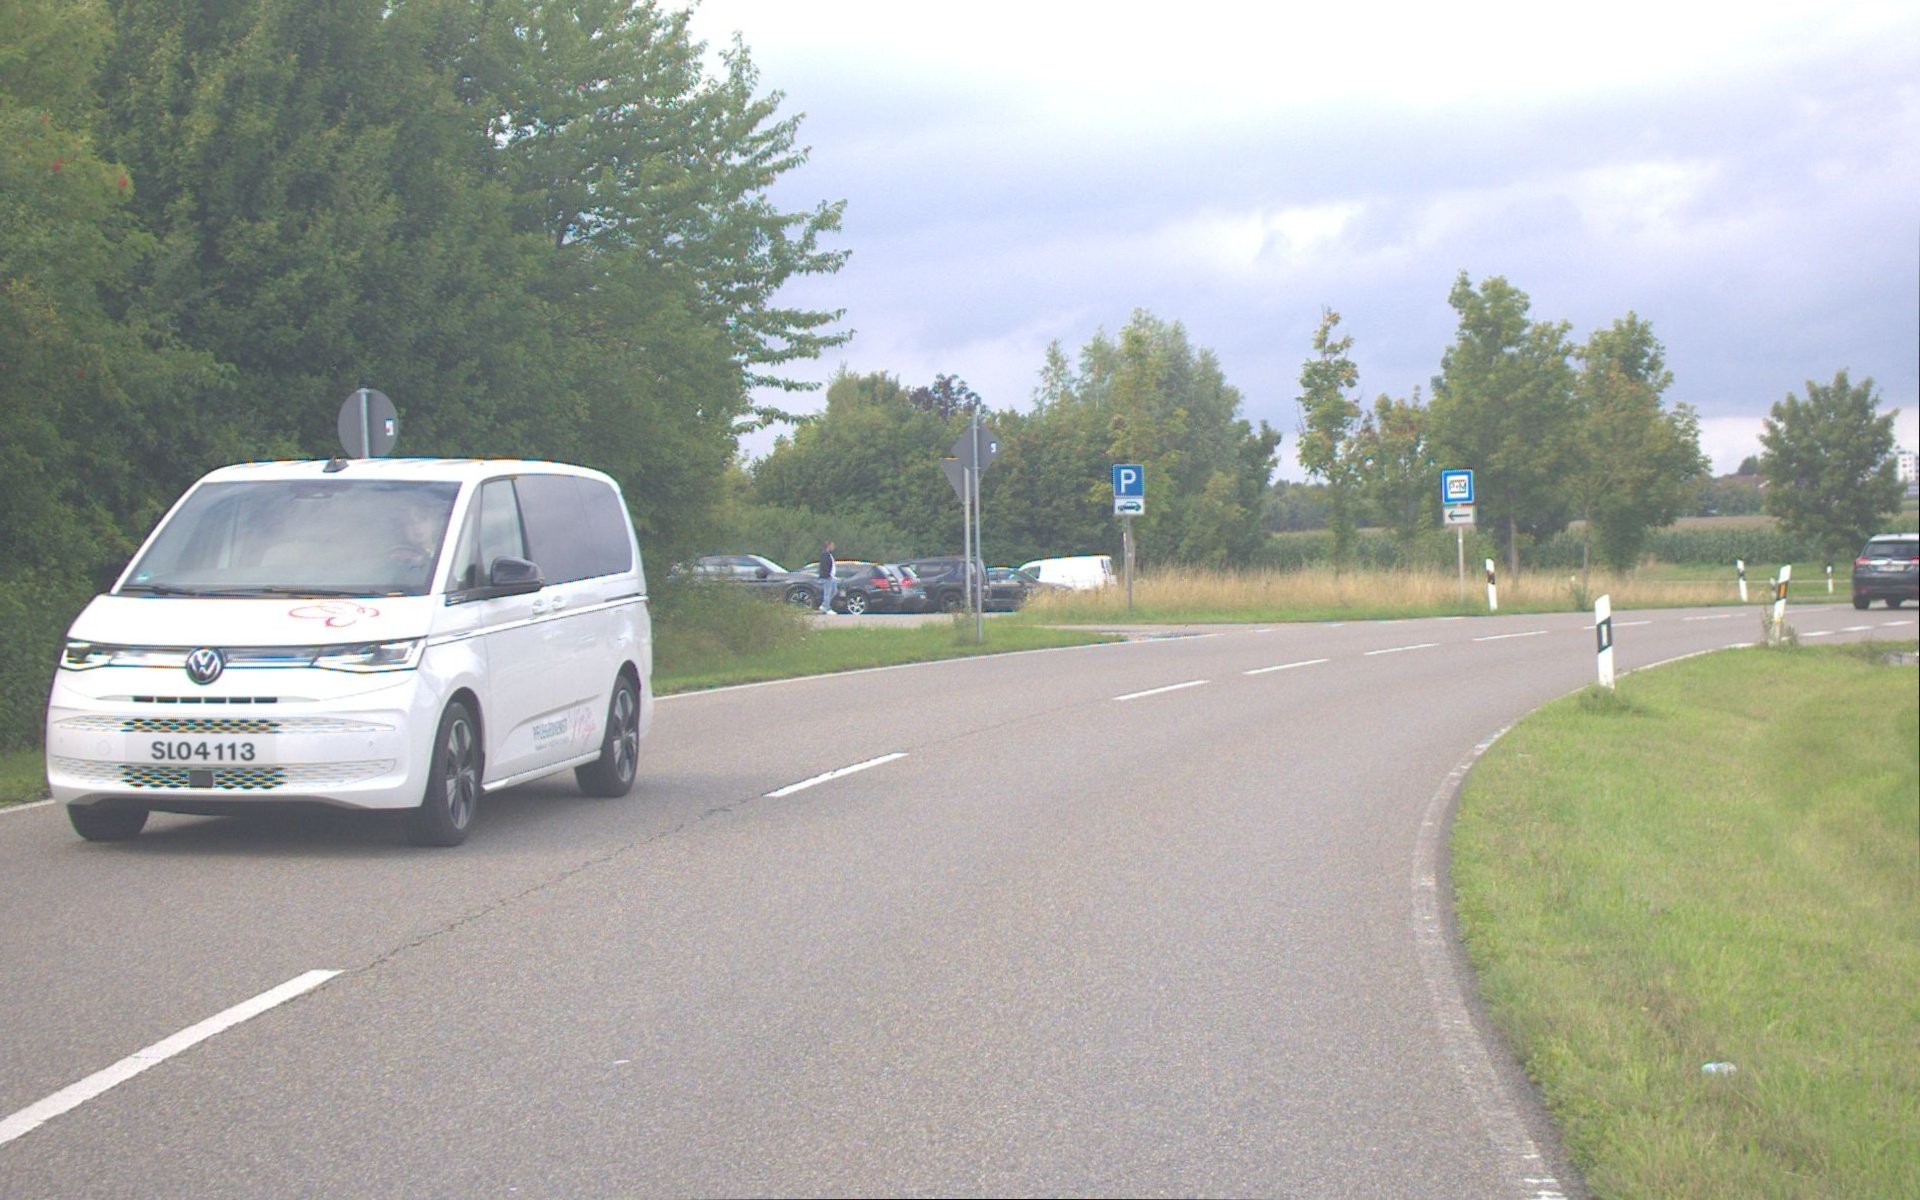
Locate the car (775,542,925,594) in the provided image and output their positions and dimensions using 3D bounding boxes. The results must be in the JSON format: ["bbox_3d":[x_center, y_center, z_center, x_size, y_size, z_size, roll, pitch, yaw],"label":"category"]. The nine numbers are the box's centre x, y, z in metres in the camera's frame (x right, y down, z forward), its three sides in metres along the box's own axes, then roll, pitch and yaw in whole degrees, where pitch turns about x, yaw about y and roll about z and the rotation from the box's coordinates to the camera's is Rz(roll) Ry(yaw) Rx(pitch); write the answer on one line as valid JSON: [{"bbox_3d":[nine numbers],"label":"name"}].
[{"bbox_3d":[-3.009,-0.879,94.402,3.987,1.375,1.476,-1,1,3],"label":"car"}]

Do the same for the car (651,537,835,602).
[{"bbox_3d":[-5.407,-0.765,85.817,4.243,1.560,1.757,-1,1,12],"label":"car"}]

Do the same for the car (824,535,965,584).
[{"bbox_3d":[-1.905,-1.175,100.180,3.987,1.375,1.476,-1,1,4],"label":"car"}]

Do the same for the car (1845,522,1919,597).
[{"bbox_3d":[18.592,-0.808,67.060,1.843,1.412,3.995,0,1,25],"label":"car"}]

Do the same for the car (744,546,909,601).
[{"bbox_3d":[-3.542,-0.709,91.328,3.990,1.375,1.823,-1,1,15],"label":"car"}]

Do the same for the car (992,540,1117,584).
[{"bbox_3d":[3.155,-1.265,114.336,3.988,1.375,1.475,-1,1,9],"label":"car"}]

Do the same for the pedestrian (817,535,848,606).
[{"bbox_3d":[-3.014,-0.694,81.071,0.515,1.661,0.660,-1,1,18],"label":"pedestrian"}]

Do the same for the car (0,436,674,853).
[{"bbox_3d":[-3.073,0.165,18.128,2.113,1.862,5.185,-1,1,7],"label":"car"}]
